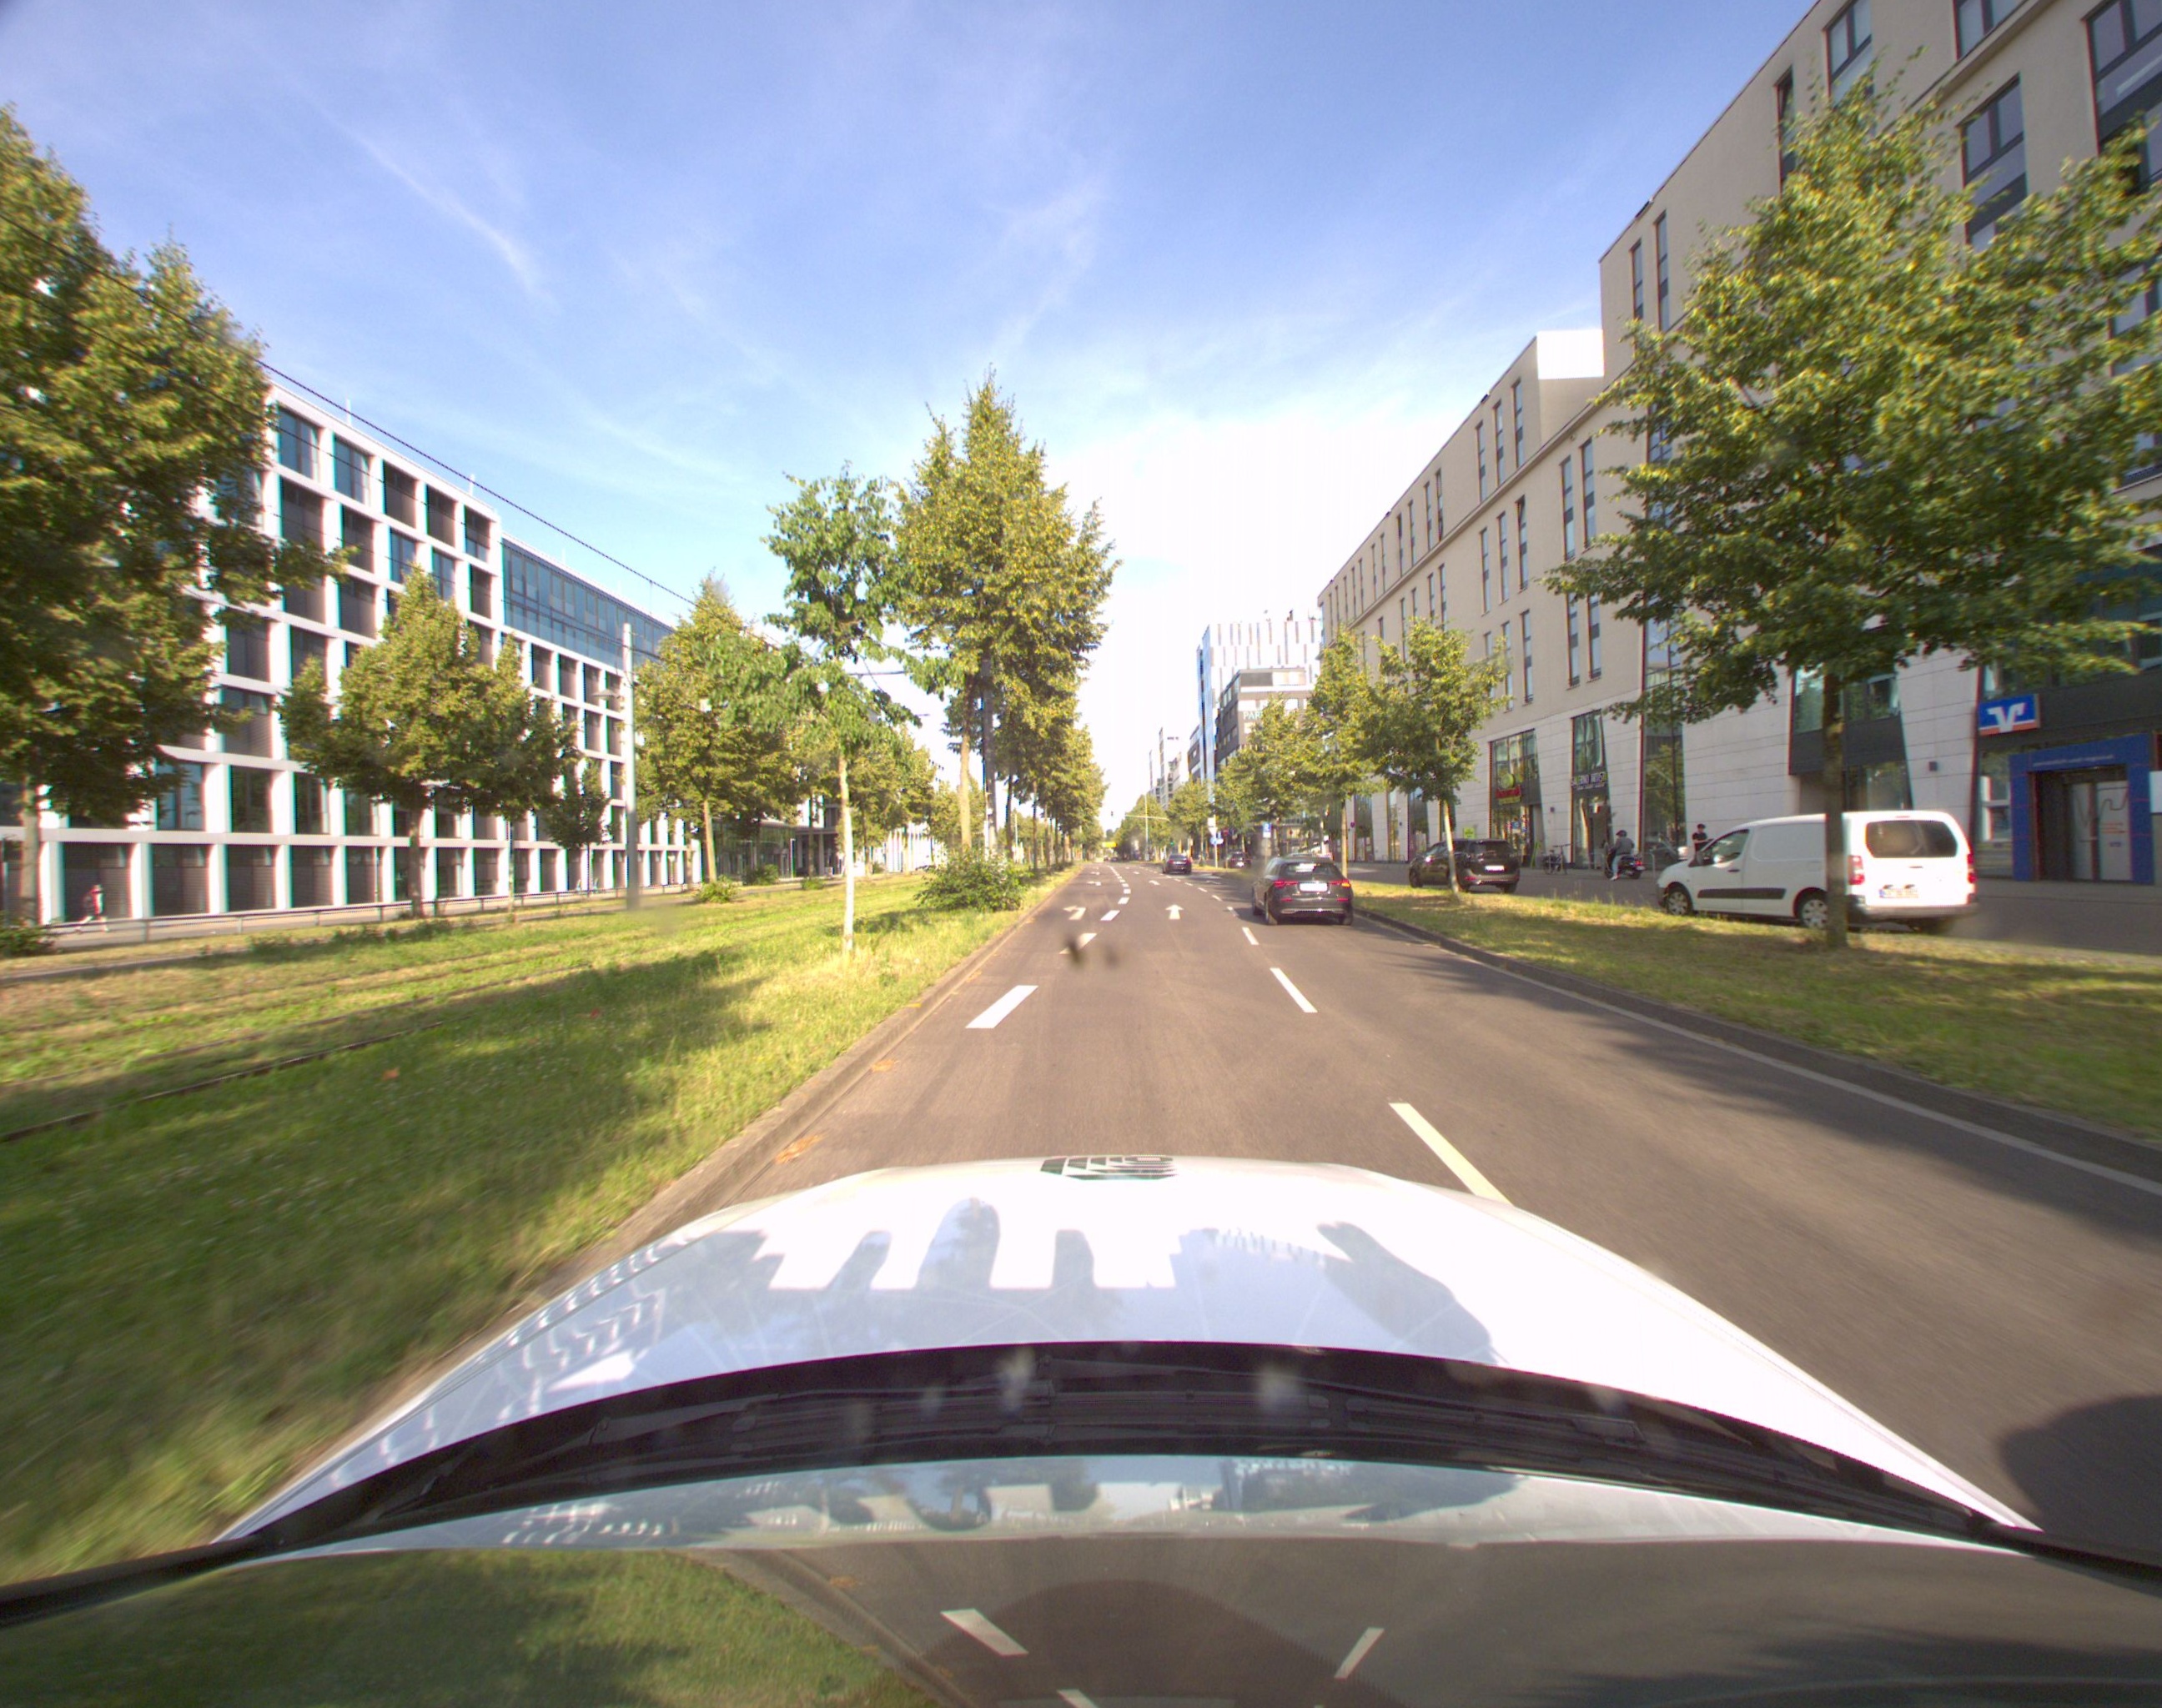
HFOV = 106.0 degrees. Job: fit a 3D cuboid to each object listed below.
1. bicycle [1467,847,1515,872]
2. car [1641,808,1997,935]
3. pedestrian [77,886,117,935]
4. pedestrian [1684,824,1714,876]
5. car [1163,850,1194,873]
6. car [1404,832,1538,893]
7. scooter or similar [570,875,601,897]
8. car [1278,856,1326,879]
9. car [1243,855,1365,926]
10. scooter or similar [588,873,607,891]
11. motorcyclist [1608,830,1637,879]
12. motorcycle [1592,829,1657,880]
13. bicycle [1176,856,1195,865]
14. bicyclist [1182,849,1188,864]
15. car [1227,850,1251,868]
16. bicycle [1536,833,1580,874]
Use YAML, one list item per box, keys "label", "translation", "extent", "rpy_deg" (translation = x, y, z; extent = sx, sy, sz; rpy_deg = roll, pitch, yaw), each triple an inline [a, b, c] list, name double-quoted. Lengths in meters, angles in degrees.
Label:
- label: "bicycle"
  translation: [19.031, 0.248, 37.857]
  extent: [0.638, 1.084, 1.883]
  rpy_deg: [-1, -1, -37]
- label: "car"
  translation: [11.434, 0.257, 13.128]
  extent: [1.821, 1.711, 4.294]
  rpy_deg: [0, -1, -1]
- label: "pedestrian"
  translation: [-35.436, 2.035, 29.327]
  extent: [0.565, 1.728, 0.691]
  rpy_deg: [0, -1, 1]
- label: "pedestrian"
  translation: [21.076, -0.129, 27.793]
  extent: [0.535, 1.763, 0.646]
  rpy_deg: [0, -1, 1]
- label: "car"
  translation: [6.794, 0.546, 57.207]
  extent: [1.853, 1.524, 3.786]
  rpy_deg: [0, -1, 1]
- label: "car"
  translation: [11.849, 0.216, 25.140]
  extent: [1.891, 1.708, 4.677]
  rpy_deg: [0, 0, 0]
- label: "scooter or similar"
  translation: [-34.591, 2.223, 56.870]
  extent: [1.919, 1.477, 0.415]
  rpy_deg: [0, -1, 4]
- label: "car"
  translation: [12.377, 0.744, 45.840]
  extent: [1.702, 1.242, 3.905]
  rpy_deg: [0, -1, 0]
- label: "car"
  translation: [4.850, 0.757, 18.264]
  extent: [1.767, 1.424, 3.962]
  rpy_deg: [0, -1, 2]
- label: "scooter or similar"
  translation: [-35.049, 2.015, 59.021]
  extent: [0.333, 1.226, 1.304]
  rpy_deg: [0, -1, 15]
- label: "motorcyclist"
  translation: [18.463, 0.012, 27.760]
  extent: [0.622, 1.640, 0.417]
  rpy_deg: [-4, 0, -3]
- label: "motorcycle"
  translation: [18.453, 0.018, 27.709]
  extent: [0.699, 1.617, 2.011]
  rpy_deg: [-5, -1, -1]
- label: "bicycle"
  translation: [11.971, 0.779, 93.644]
  extent: [2.129, 1.013, 0.571]
  rpy_deg: [0, -1, -3]
- label: "bicyclist"
  translation: [11.929, 0.290, 93.634]
  extent: [0.573, 1.707, 0.540]
  rpy_deg: [0, -1, -3]
- label: "car"
  translation: [13.007, 0.429, 67.100]
  extent: [1.598, 1.370, 4.164]
  rpy_deg: [0, -1, 6]
- label: "bicycle"
  translation: [19.225, -0.002, 32.886]
  extent: [0.553, 1.619, 2.213]
  rpy_deg: [0, -1, 2]
